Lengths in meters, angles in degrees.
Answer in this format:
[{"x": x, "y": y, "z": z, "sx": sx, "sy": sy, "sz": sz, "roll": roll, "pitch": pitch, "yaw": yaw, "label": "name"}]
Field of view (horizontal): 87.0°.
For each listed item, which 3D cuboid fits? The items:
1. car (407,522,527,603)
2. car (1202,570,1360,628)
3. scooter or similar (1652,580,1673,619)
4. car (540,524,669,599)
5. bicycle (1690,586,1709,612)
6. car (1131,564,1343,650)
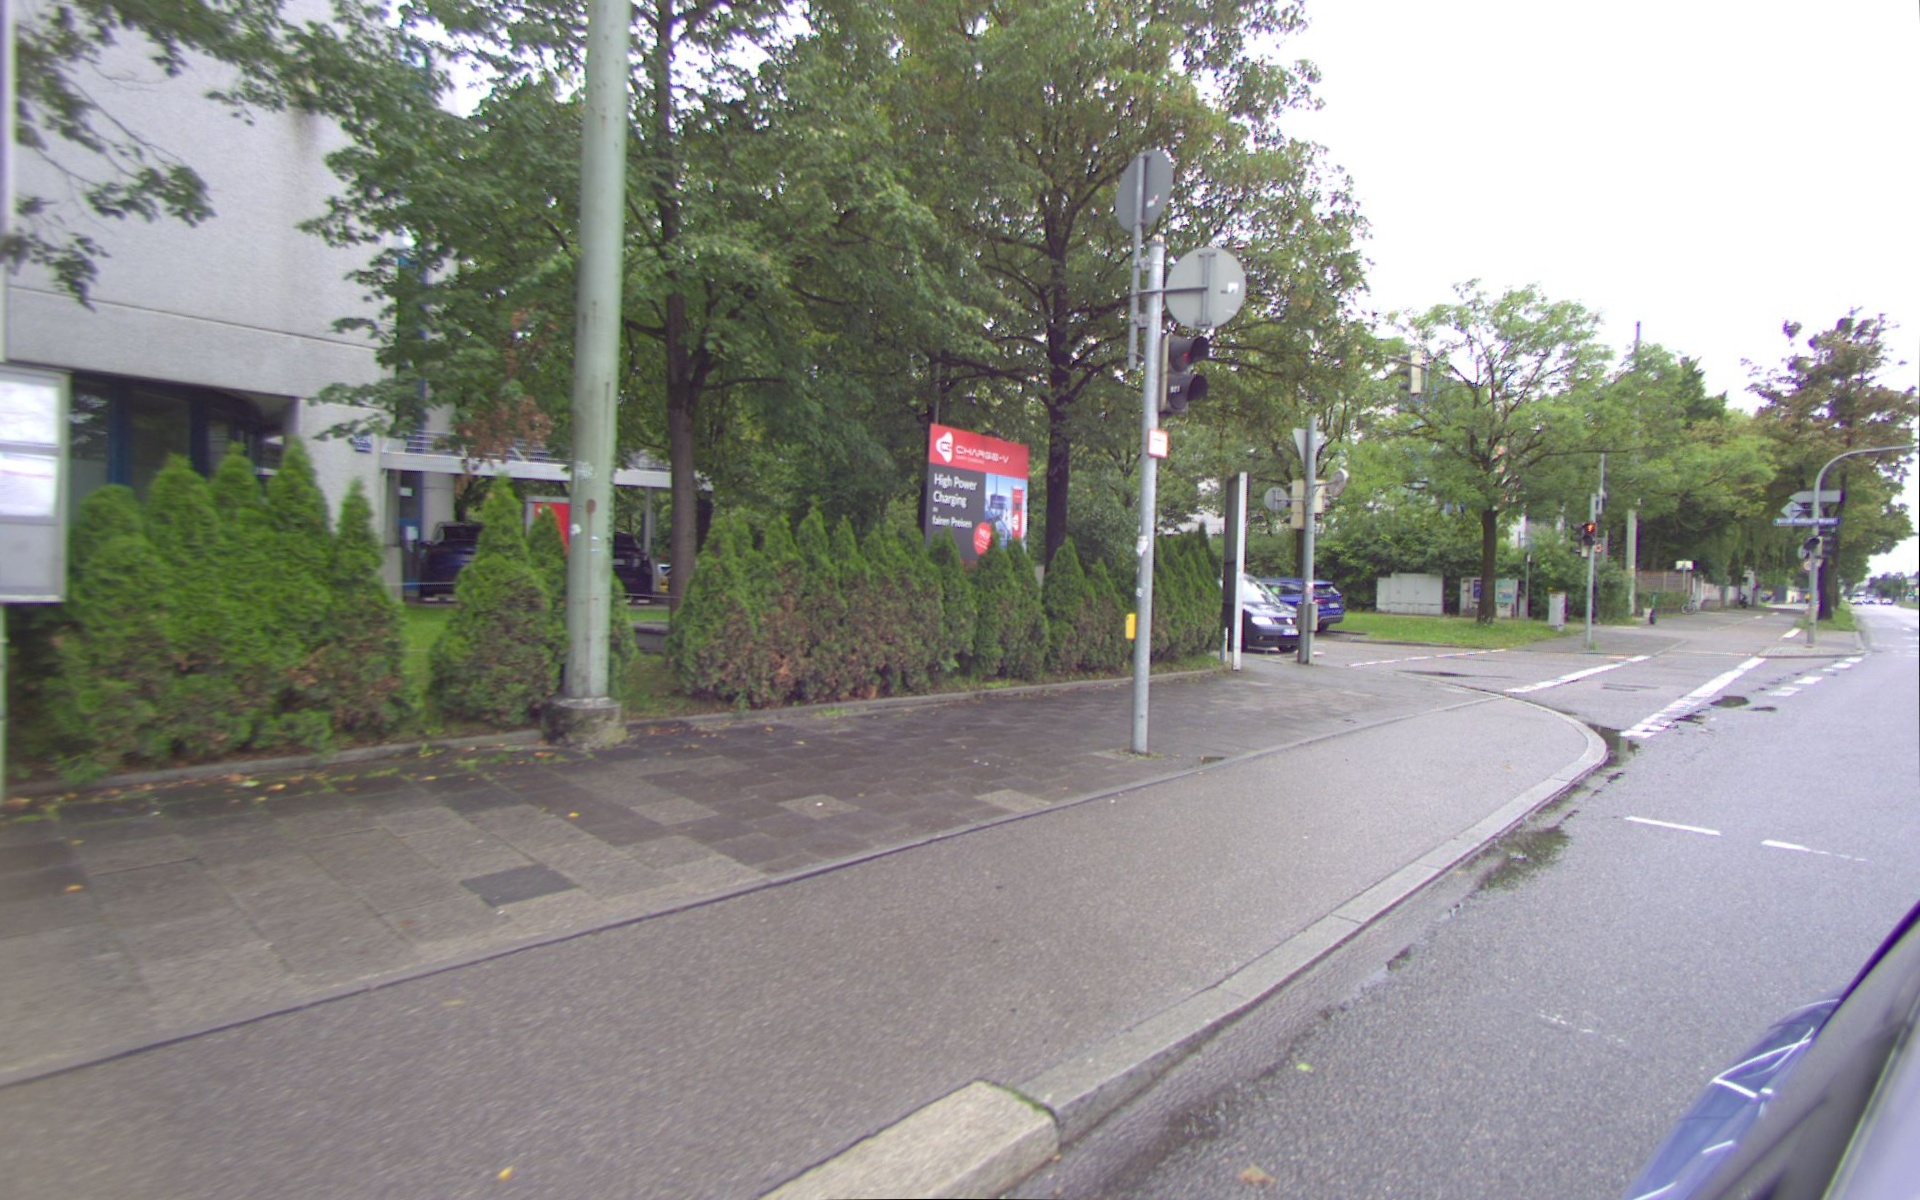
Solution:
[{"x": -10.045, "y": -0.791, "z": 20.451, "sx": 1.832, "sy": 1.436, "sz": 4.182, "roll": 1, "pitch": 3, "yaw": -31, "label": "car"}, {"x": 9.802, "y": -0.083, "z": 31.170, "sx": 1.964, "sy": 1.594, "sz": 4.279, "roll": -2, "pitch": 3, "yaw": -38, "label": "car"}, {"x": 26.546, "y": -0.039, "z": 38.254, "sx": 0.368, "sy": 1.441, "sz": 1.393, "roll": 3, "pitch": 2, "yaw": 26, "label": "scooter or similar"}, {"x": -7.796, "y": -0.876, "z": 21.941, "sx": 1.832, "sy": 1.436, "sz": 4.182, "roll": 1, "pitch": 3, "yaw": -31, "label": "car"}, {"x": 38.707, "y": -0.042, "z": 52.953, "sx": 0.581, "sy": 1.311, "sz": 2.419, "roll": 4, "pitch": 3, "yaw": 39, "label": "bicycle"}, {"x": 6.107, "y": 0.104, "z": 22.991, "sx": 1.958, "sy": 1.744, "sz": 4.800, "roll": 1, "pitch": 1, "yaw": -25, "label": "car"}]
